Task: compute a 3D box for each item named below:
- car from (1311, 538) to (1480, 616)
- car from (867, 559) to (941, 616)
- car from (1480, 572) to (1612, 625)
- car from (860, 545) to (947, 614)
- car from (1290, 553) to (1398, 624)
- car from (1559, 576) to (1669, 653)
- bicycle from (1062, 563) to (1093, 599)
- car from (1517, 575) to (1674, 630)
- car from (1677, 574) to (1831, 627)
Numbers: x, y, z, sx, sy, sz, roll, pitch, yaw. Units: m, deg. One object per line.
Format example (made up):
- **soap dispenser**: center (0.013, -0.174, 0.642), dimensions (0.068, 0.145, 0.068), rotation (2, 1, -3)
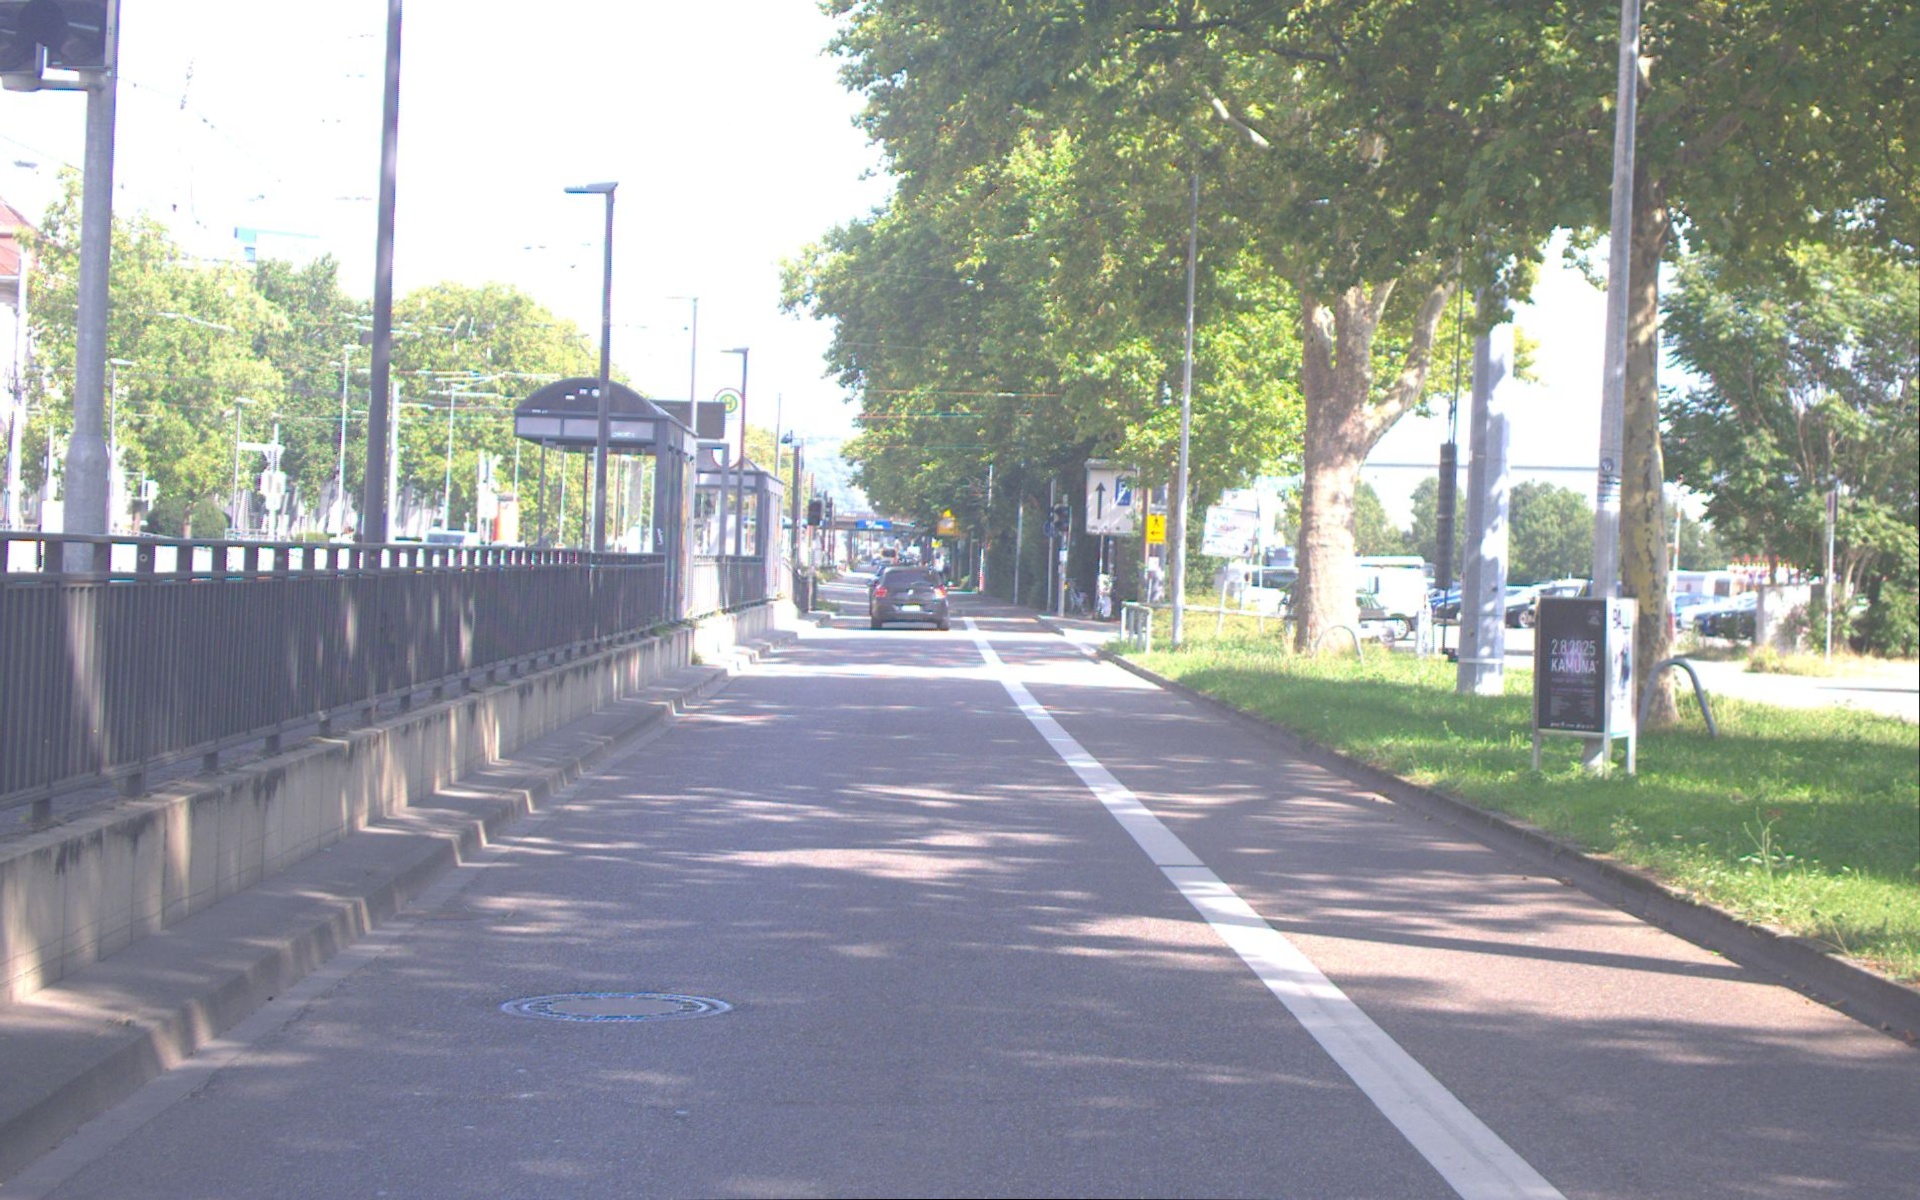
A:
- **car**: center (11.048, -0.586, 87.404), dimensions (4.103, 1.912, 1.847), rotation (1, 1, 2)
- **car**: center (-1.613, -0.376, 97.479), dimensions (1.973, 1.532, 4.000), rotation (-1, 1, -2)
- **car**: center (21.207, -0.068, 124.508), dimensions (4.343, 1.707, 1.948), rotation (3, 0, -3)
- **car**: center (-1.318, -0.482, 78.223), dimensions (1.907, 1.532, 4.000), rotation (0, 1, -2)
- **car**: center (8.222, -0.264, 73.912), dimensions (1.728, 1.444, 4.551), rotation (1, 1, -1)
- **car**: center (14.290, 0.297, 75.319), dimensions (1.607, 1.570, 3.797), rotation (1, 1, -1)
- **bicycle**: center (3.520, -0.576, 102.829), dimensions (0.610, 1.018, 2.403), rotation (2, 1, -5)
- **car**: center (19.594, 0.076, 106.104), dimensions (4.343, 1.459, 1.948), rotation (3, 0, -3)
- **car**: center (25.192, 0.012, 109.151), dimensions (4.343, 1.459, 1.948), rotation (3, 0, -3)
